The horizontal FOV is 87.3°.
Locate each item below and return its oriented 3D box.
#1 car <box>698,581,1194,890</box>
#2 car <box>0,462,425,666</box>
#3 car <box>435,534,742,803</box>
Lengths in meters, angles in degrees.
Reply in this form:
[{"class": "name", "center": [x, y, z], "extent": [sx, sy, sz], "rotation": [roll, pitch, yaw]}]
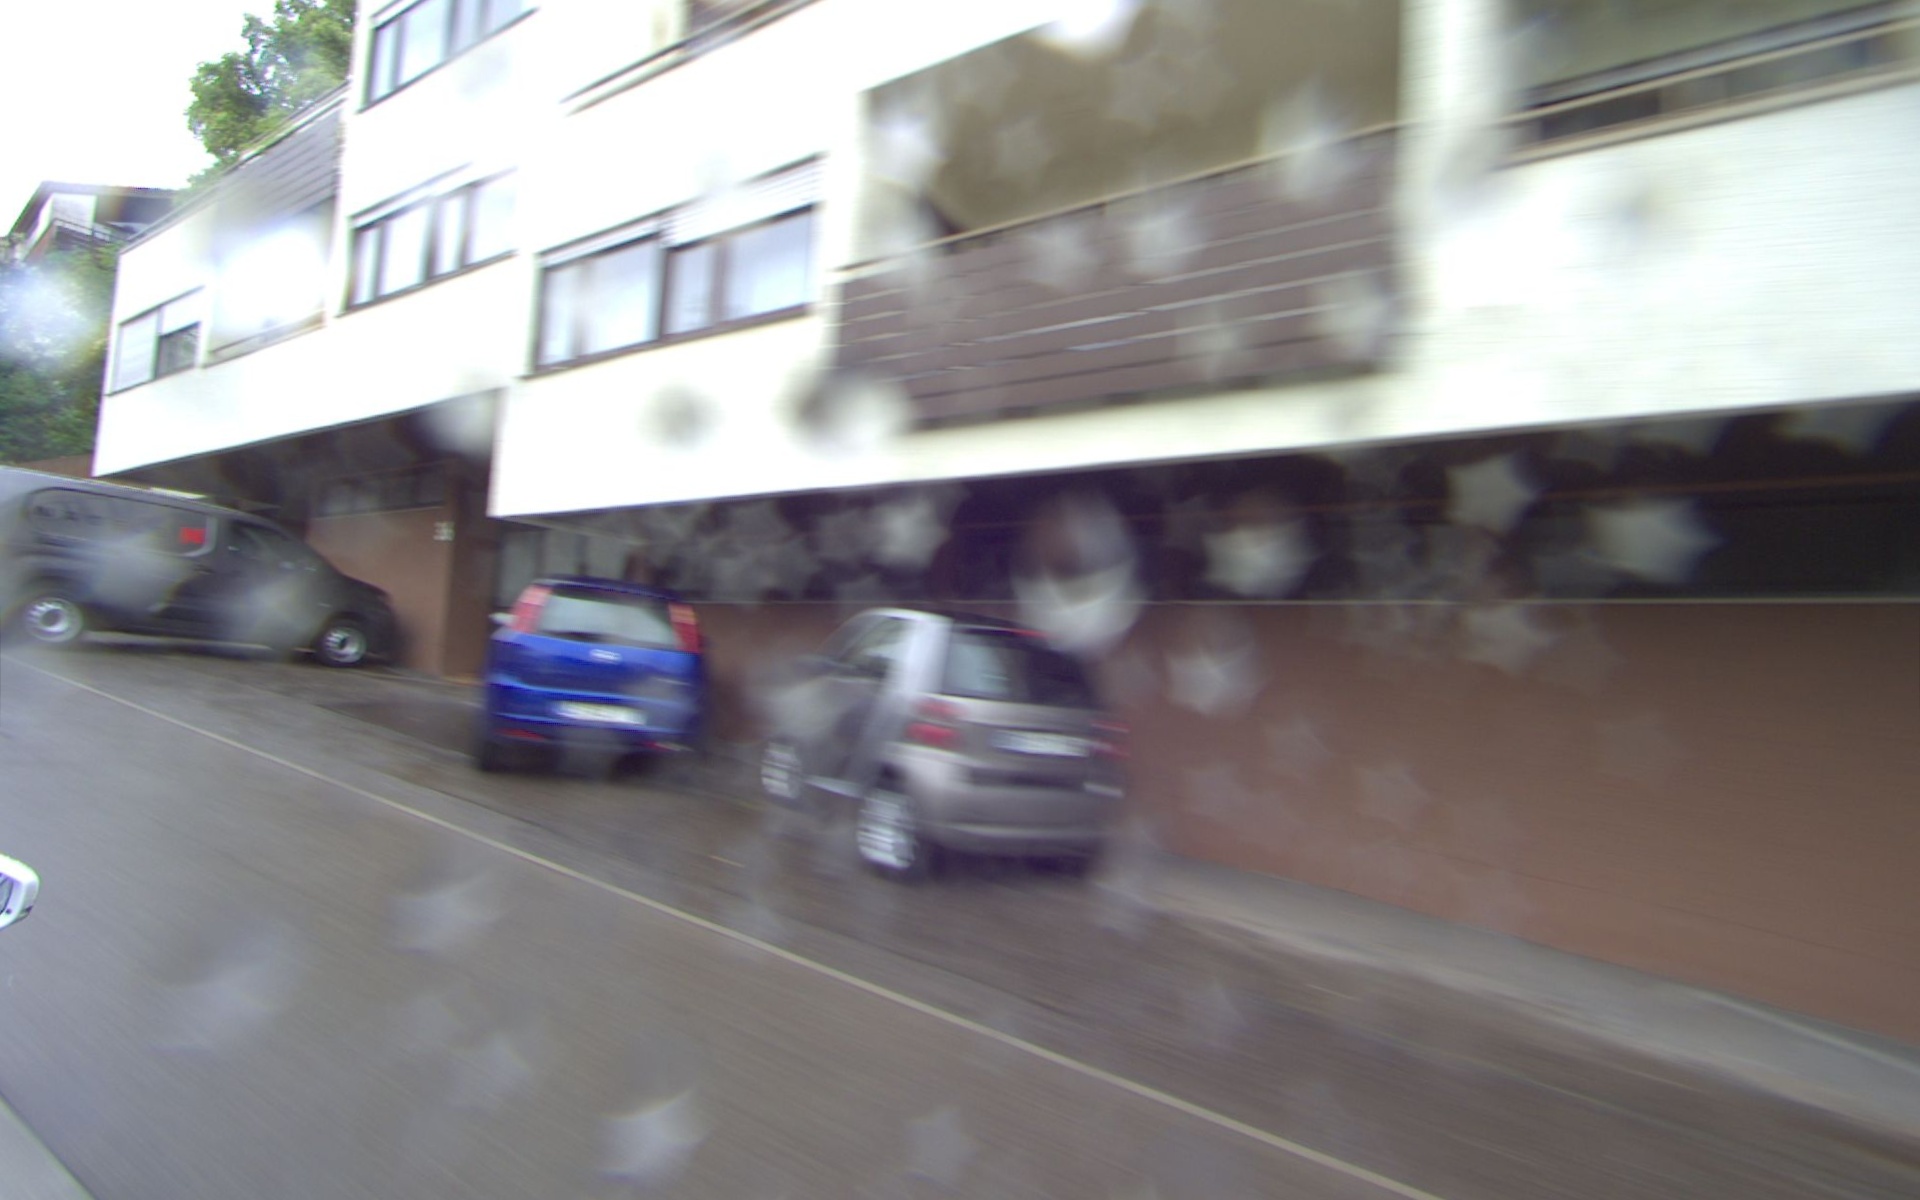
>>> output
[{"class": "car", "center": [-0.415, 0.814, 7.546], "extent": [1.771, 1.595, 4.037], "rotation": [11, -4, -30]}, {"class": "car", "center": [-9.460, -0.351, 12.244], "extent": [1.967, 1.841, 4.717], "rotation": [7, -2, 31]}, {"class": "car", "center": [-3.190, 0.531, 8.821], "extent": [1.764, 1.595, 4.052], "rotation": [10, -4, -20]}]
